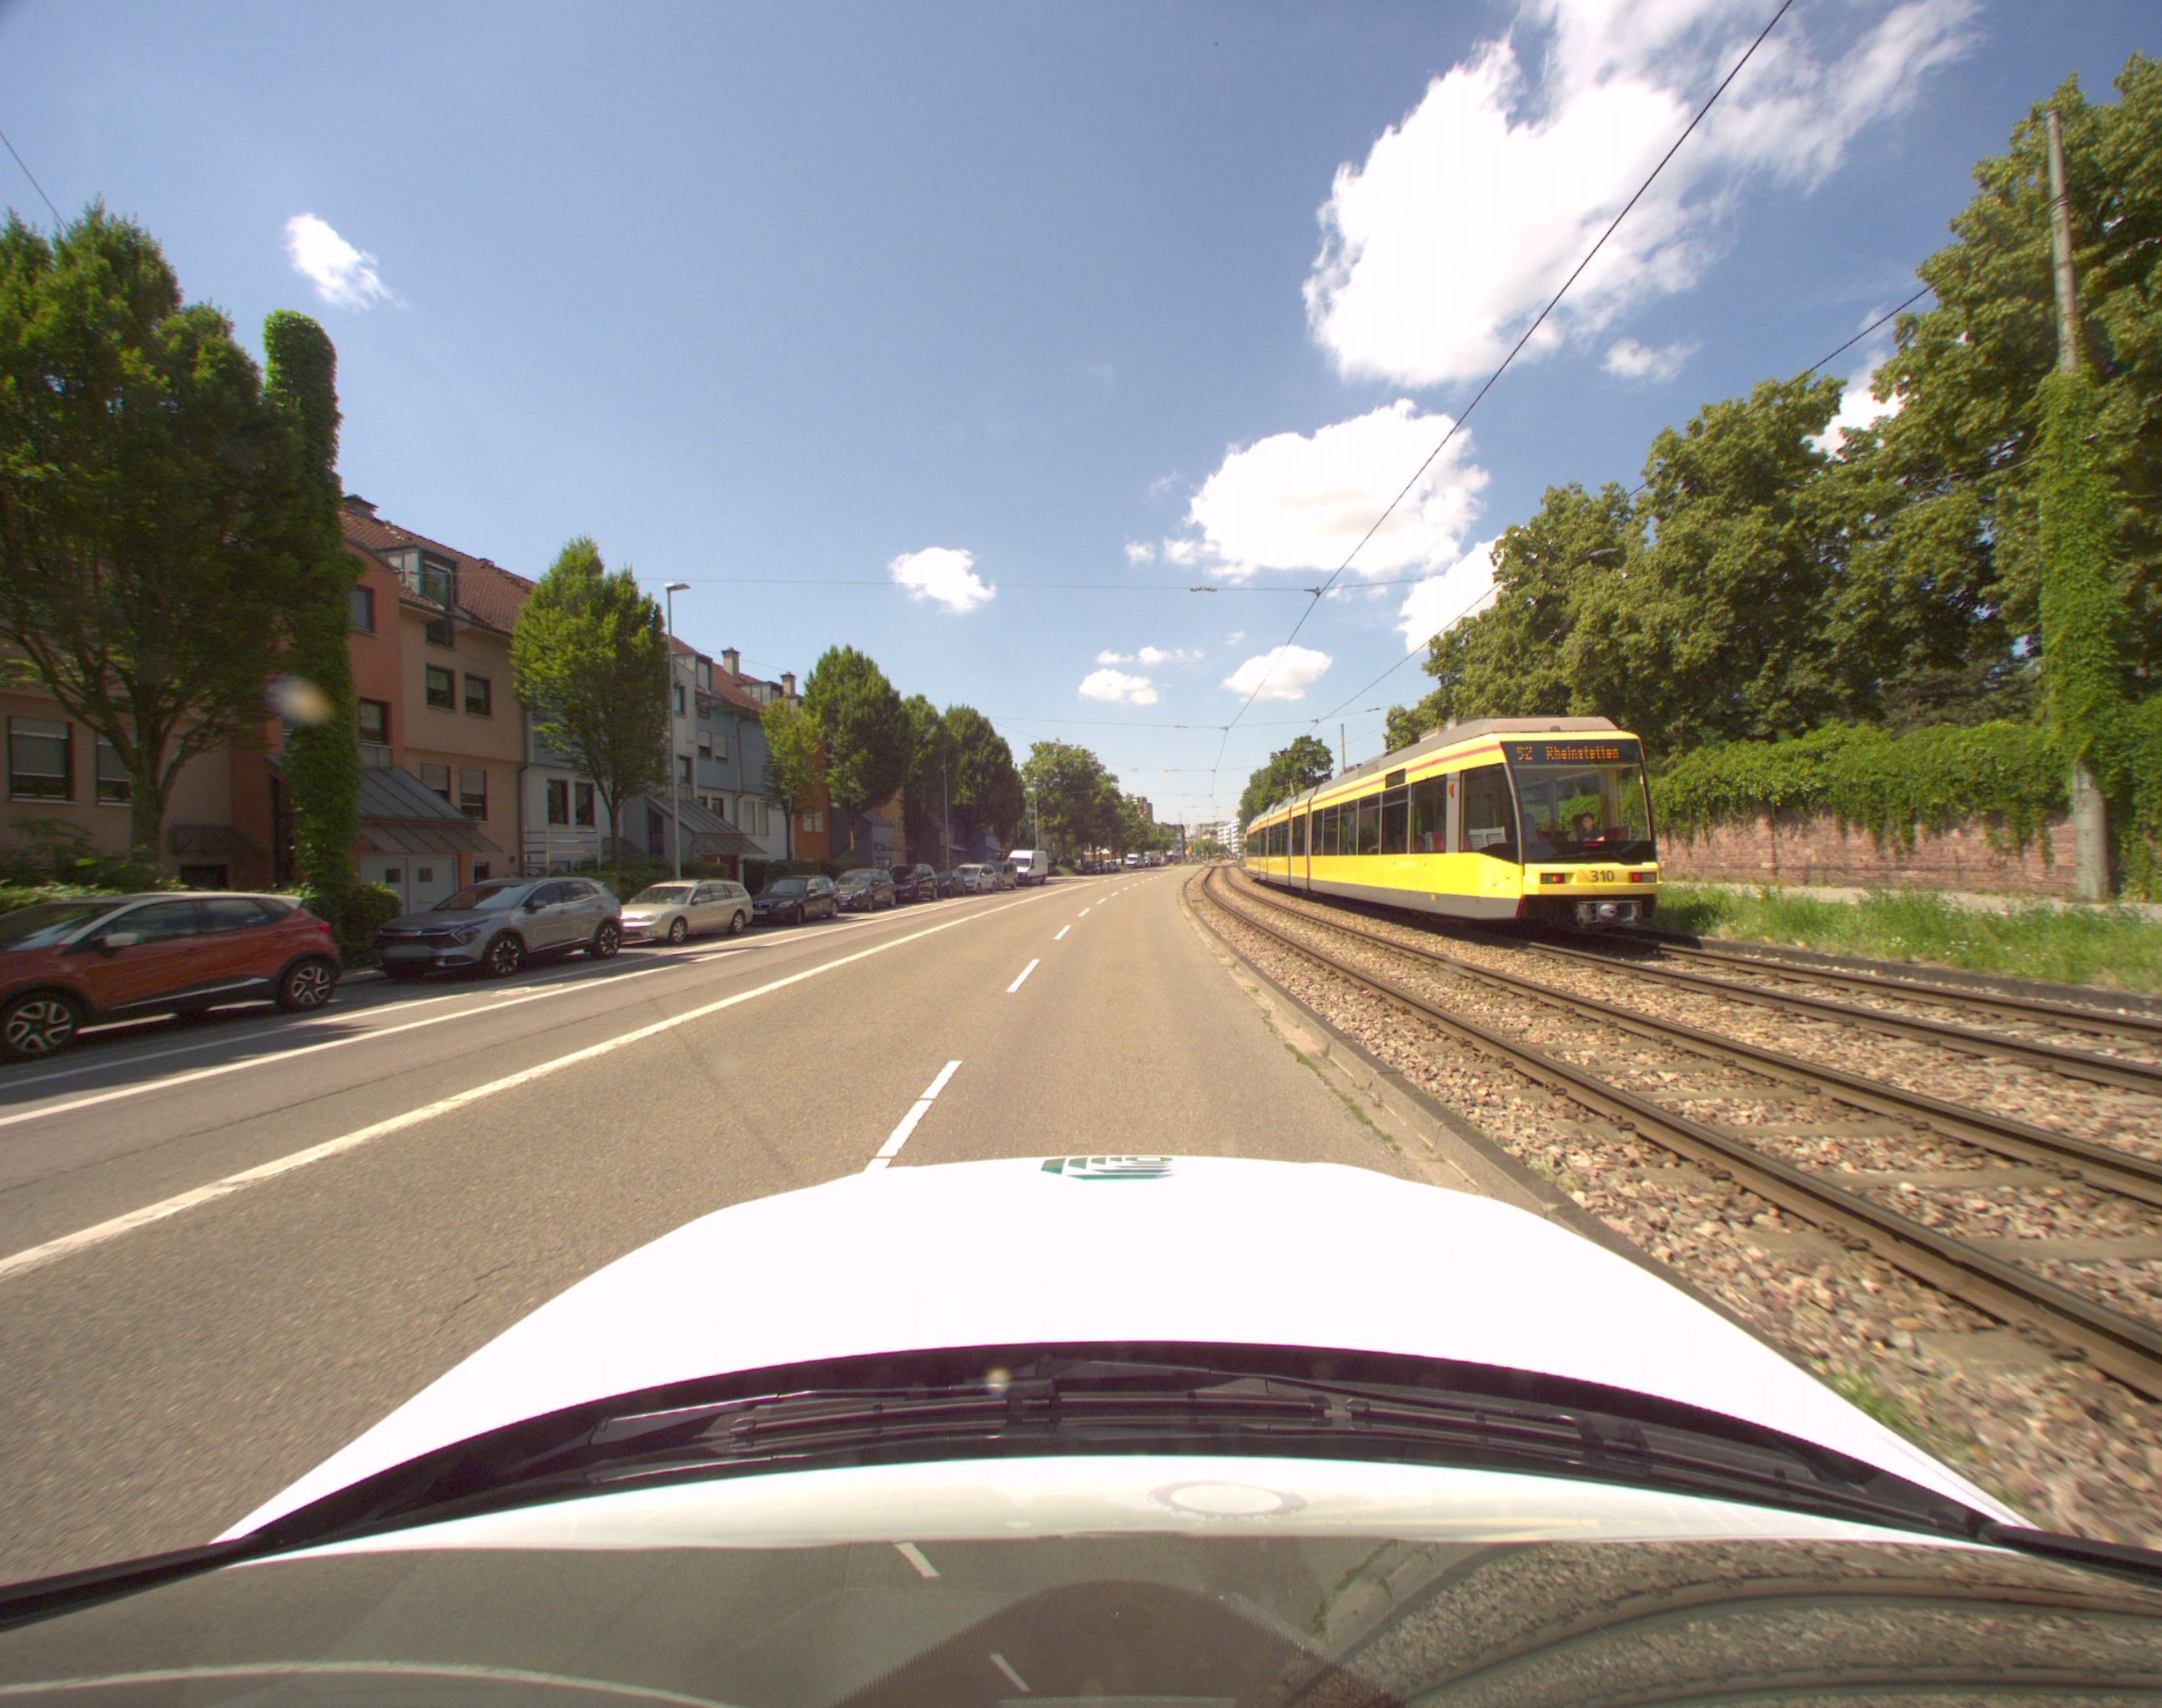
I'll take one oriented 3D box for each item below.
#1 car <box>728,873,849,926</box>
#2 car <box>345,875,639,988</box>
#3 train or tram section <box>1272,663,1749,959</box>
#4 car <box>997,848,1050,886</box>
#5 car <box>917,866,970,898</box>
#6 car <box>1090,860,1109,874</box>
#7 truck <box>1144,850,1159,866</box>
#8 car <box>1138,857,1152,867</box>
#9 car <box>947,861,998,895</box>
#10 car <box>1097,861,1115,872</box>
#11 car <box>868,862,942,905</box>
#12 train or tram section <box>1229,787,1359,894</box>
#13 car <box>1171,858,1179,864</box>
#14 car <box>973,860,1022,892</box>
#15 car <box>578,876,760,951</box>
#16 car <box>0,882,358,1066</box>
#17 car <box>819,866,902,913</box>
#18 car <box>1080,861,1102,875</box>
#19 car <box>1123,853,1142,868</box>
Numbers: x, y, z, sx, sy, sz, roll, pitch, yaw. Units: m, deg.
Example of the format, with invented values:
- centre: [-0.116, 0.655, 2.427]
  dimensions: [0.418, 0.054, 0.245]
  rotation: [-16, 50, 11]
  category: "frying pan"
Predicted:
- centre: [-9.322, 1.414, 26.480]
  dimensions: [1.733, 1.446, 4.971]
  rotation: [-1, 0, 5]
  category: "car"
- centre: [-10.287, 1.244, 14.795]
  dimensions: [1.648, 1.609, 4.693]
  rotation: [0, 0, 4]
  category: "car"
- centre: [7.574, -0.503, 19.521]
  dimensions: [2.930, 3.692, 18.409]
  rotation: [-1, 0, 4]
  category: "train or tram section"
- centre: [-4.287, 0.949, 62.229]
  dimensions: [2.309, 2.651, 7.055]
  rotation: [2, 0, 11]
  category: "car"
- centre: [-7.258, 1.452, 43.282]
  dimensions: [1.590, 1.471, 4.095]
  rotation: [-3, 0, 7]
  category: "car"
- centre: [2.285, 1.552, 99.994]
  dimensions: [1.764, 1.604, 4.648]
  rotation: [-1, 0, 8]
  category: "car"
- centre: [14.535, 0.771, 167.265]
  dimensions: [2.142, 3.210, 7.106]
  rotation: [1, 0, 12]
  category: "truck"
- centre: [12.489, 1.569, 158.027]
  dimensions: [2.048, 1.898, 4.885]
  rotation: [-3, -1, 11]
  category: "car"
- centre: [-6.340, 1.377, 48.115]
  dimensions: [1.707, 1.752, 4.913]
  rotation: [-3, 0, 7]
  category: "car"
- centre: [3.287, 1.642, 105.125]
  dimensions: [1.764, 1.373, 4.708]
  rotation: [0, 0, 8]
  category: "car"
- centre: [-8.021, 1.300, 37.553]
  dimensions: [1.741, 1.716, 4.897]
  rotation: [-3, 0, 7]
  category: "car"
- centre: [9.286, -0.451, 38.715]
  dimensions: [2.928, 3.692, 20.317]
  rotation: [-1, 0, 6]
  category: "train or tram section"
- centre: [21.779, 1.620, 188.331]
  dimensions: [1.764, 1.460, 4.205]
  rotation: [-4, -1, 8]
  category: "car"
- centre: [-5.448, 1.381, 53.757]
  dimensions: [1.796, 1.895, 5.376]
  rotation: [-3, 0, 9]
  category: "car"
- centre: [-10.053, 1.379, 20.390]
  dimensions: [1.647, 1.508, 4.904]
  rotation: [-1, 0, 6]
  category: "car"
- centre: [-10.790, 1.197, 9.074]
  dimensions: [1.649, 1.609, 4.175]
  rotation: [-2, -1, 1]
  category: "car"
- centre: [-8.659, 1.355, 32.377]
  dimensions: [1.647, 1.617, 4.293]
  rotation: [-3, 0, 7]
  category: "car"
- centre: [1.169, 1.586, 92.412]
  dimensions: [1.764, 1.456, 4.815]
  rotation: [-2, -1, 8]
  category: "car"
- centre: [8.849, 1.015, 139.524]
  dimensions: [2.142, 2.487, 6.213]
  rotation: [1, 0, 12]
  category: "car"
